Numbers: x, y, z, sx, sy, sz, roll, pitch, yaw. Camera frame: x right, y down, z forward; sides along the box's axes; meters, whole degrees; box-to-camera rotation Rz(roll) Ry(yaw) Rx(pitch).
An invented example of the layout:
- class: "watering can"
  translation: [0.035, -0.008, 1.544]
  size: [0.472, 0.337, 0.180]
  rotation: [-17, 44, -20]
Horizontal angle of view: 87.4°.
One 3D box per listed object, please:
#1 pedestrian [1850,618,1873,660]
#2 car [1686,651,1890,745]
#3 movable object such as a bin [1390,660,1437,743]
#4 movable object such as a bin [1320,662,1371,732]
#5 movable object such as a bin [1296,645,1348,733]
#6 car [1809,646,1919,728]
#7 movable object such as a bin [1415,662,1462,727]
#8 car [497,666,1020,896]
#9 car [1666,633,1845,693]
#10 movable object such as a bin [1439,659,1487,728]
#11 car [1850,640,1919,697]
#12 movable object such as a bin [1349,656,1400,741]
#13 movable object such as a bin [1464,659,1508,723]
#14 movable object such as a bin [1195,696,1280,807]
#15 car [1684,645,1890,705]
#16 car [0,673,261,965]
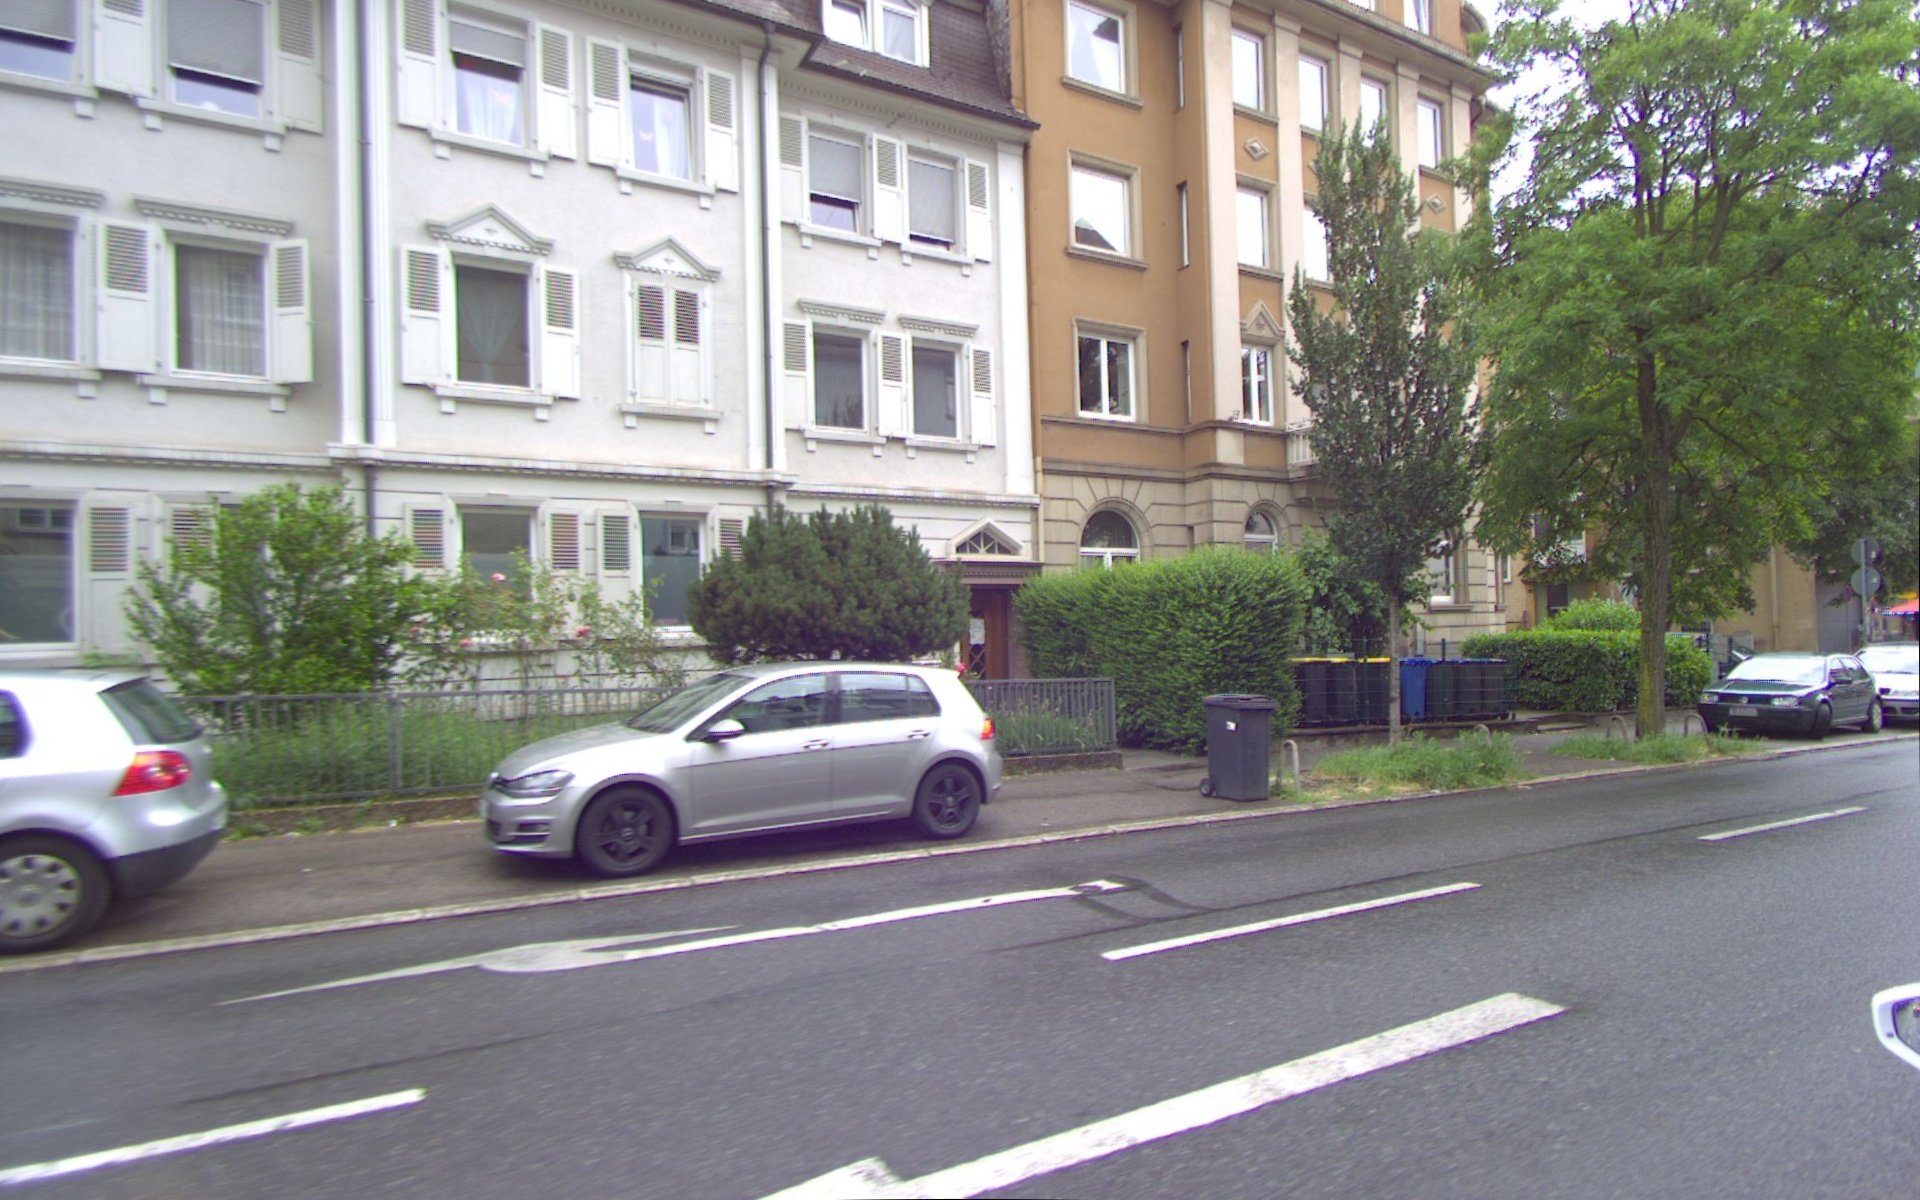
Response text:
- class: "pedestrian"
  translation: [40.154, 1.751, 44.735]
  size: [0.627, 1.840, 0.633]
  rotation: [-2, -2, 34]
- class: "car"
  translation: [14.783, 1.656, 17.892]
  size: [3.899, 1.473, 1.645]
  rotation: [1, -3, -32]
- class: "movable object such as a bin"
  translation: [7.485, 1.657, 16.583]
  size: [0.602, 1.326, 0.437]
  rotation: [1, -2, -31]
- class: "movable object such as a bin"
  translation: [6.050, 1.511, 15.772]
  size: [0.642, 1.053, 0.437]
  rotation: [1, -3, -31]
- class: "movable object such as a bin"
  translation: [5.600, 1.362, 15.550]
  size: [0.642, 1.316, 0.437]
  rotation: [1, -2, -31]
- class: "car"
  translation: [18.612, 1.667, 20.004]
  size: [3.800, 1.473, 1.622]
  rotation: [2, -2, -34]
- class: "movable object such as a bin"
  translation: [8.076, 1.582, 16.950]
  size: [0.643, 1.054, 0.424]
  rotation: [1, -3, -31]
- class: "car"
  translation: [-1.586, 1.291, 8.242]
  size: [3.889, 1.408, 1.675]
  rotation: [2, -2, -30]
- class: "car"
  translation: [23.374, 1.807, 29.644]
  size: [1.673, 1.603, 3.792]
  rotation: [-1, -2, -30]
- class: "movable object such as a bin"
  translation: [8.681, 1.605, 17.333]
  size: [0.650, 1.145, 0.437]
  rotation: [1, -2, -31]
- class: "car"
  translation: [25.429, 1.780, 25.591]
  size: [1.722, 1.408, 3.797]
  rotation: [2, -2, -30]
- class: "movable object such as a bin"
  translation: [6.648, 1.565, 16.118]
  size: [0.642, 1.326, 0.437]
  rotation: [1, -2, -31]
- class: "movable object such as a bin"
  translation: [9.263, 1.595, 17.693]
  size: [0.583, 1.095, 0.437]
  rotation: [1, -3, -31]
- class: "movable object such as a bin"
  translation: [2.883, 1.547, 10.453]
  size: [0.593, 1.072, 0.627]
  rotation: [2, -3, -30]
- class: "car"
  translation: [21.639, 1.917, 26.432]
  size: [1.720, 1.408, 3.803]
  rotation: [0, -2, -27]
- class: "car"
  translation: [-6.219, 1.165, 5.392]
  size: [3.862, 1.408, 1.675]
  rotation: [1, -2, -30]
